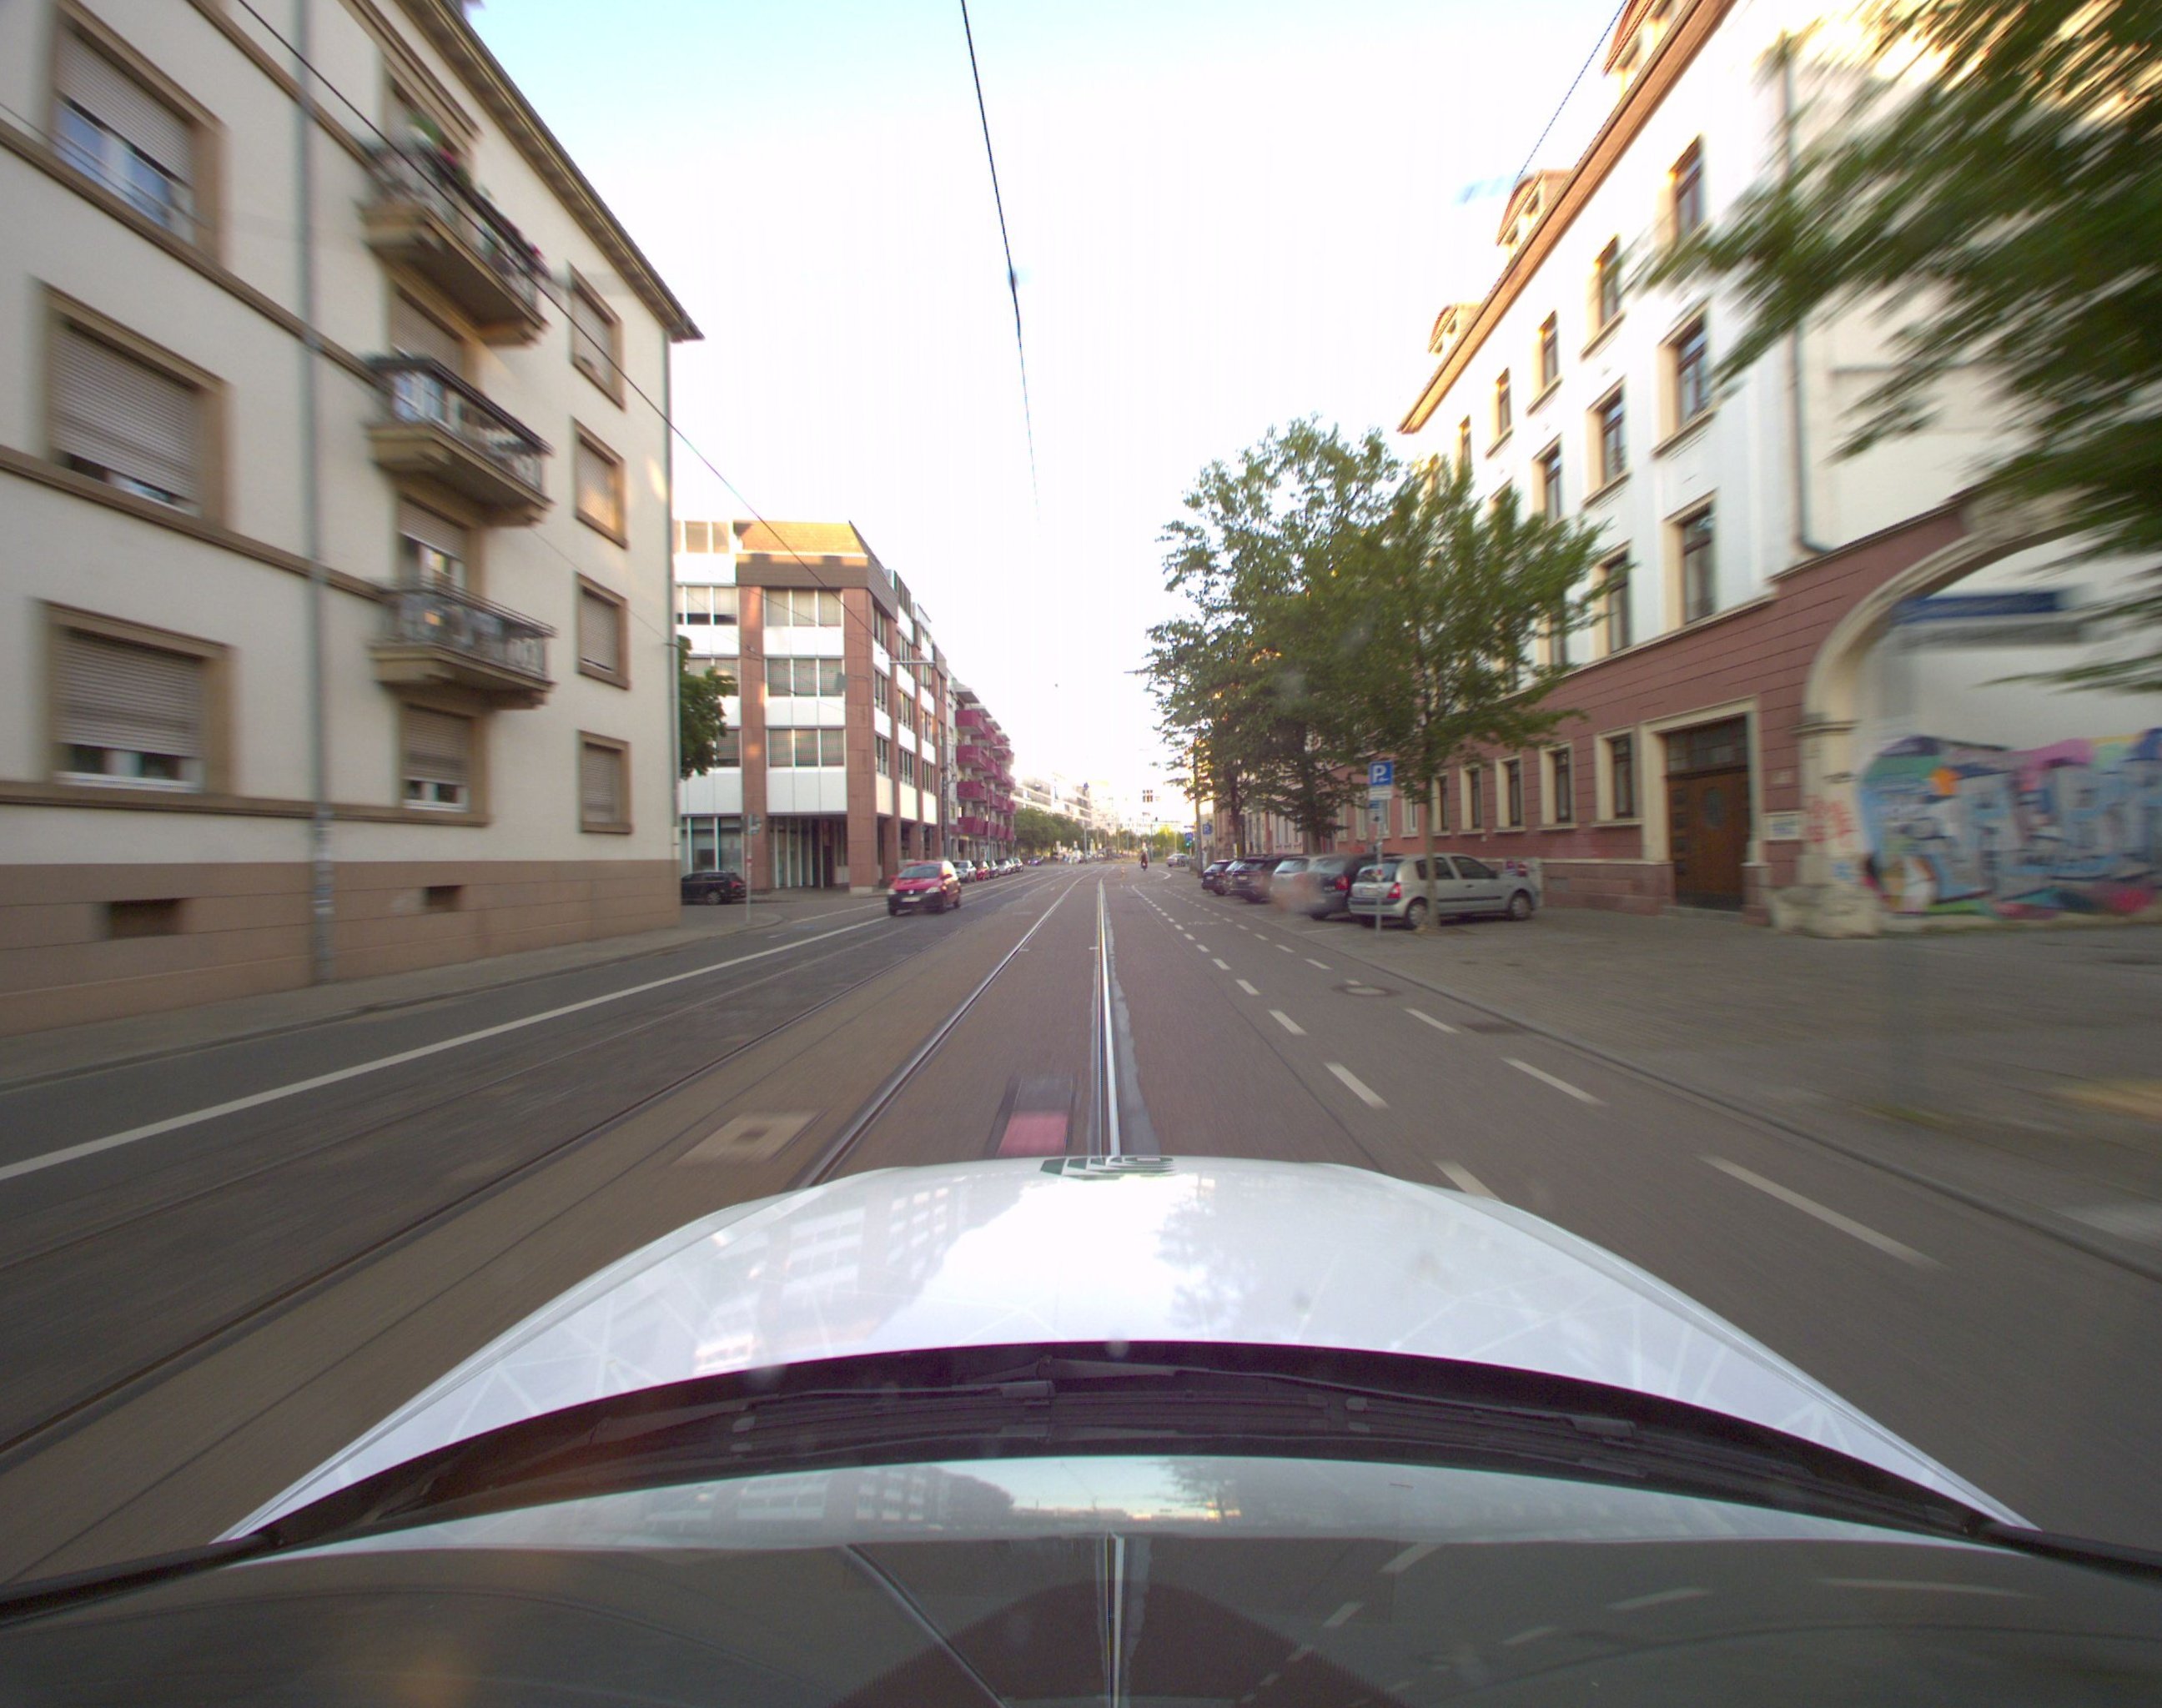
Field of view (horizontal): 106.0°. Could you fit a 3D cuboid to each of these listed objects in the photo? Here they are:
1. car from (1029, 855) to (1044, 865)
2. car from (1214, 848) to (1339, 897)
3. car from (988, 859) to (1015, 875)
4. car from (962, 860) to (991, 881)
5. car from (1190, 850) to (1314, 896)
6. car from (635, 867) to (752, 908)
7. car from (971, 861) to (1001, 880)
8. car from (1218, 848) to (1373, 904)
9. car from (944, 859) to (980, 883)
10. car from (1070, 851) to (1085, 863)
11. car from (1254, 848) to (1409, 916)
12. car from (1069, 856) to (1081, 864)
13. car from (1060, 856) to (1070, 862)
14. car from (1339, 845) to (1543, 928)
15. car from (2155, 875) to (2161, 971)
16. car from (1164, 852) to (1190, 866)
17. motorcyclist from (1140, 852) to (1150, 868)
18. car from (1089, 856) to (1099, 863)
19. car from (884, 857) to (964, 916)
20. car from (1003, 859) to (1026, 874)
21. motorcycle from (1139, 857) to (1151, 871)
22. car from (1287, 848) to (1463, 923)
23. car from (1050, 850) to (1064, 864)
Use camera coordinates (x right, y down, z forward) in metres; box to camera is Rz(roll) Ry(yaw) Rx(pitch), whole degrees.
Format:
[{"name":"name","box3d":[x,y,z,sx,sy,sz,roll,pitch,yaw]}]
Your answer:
[{"name":"car","box3d":[-8.041,1.043,147.845,1.672,1.700,4.251,-2,0,10]},{"name":"car","box3d":[6.993,0.666,29.087,4.005,1.492,1.816,-3,-2,-24]},{"name":"car","box3d":[-7.326,1.147,75.533,1.684,1.414,4.681,0,0,4]},{"name":"car","box3d":[-7.807,1.237,61.184,1.604,1.479,3.482,1,0,3]},{"name":"car","box3d":[6.792,0.722,32.229,4.626,1.457,1.697,-3,0,-24]},{"name":"car","box3d":[-16.340,1.410,34.515,3.982,1.505,1.919,-2,-2,-6]},{"name":"car","box3d":[-7.779,1.339,67.367,1.988,1.479,4.480,1,0,-1]},{"name":"car","box3d":[6.872,0.661,26.157,4.462,1.516,2.048,-3,0,-22]},{"name":"car","box3d":[-8.060,1.131,55.380,1.710,1.555,4.205,0,0,2]},{"name":"car","box3d":[-0.586,0.586,163.808,2.449,2.482,5.816,-2,0,5]},{"name":"car","box3d":[6.503,0.679,21.172,3.572,1.516,1.729,-3,0,-24]},{"name":"car","box3d":[-1.179,1.204,157.900,1.673,1.439,4.136,-2,0,8]},{"name":"car","box3d":[-4.106,1.295,209.446,1.673,1.501,4.250,-2,0,9]},{"name":"car","box3d":[7.120,0.618,16.181,3.492,1.429,1.610,-2,-2,-18]},{"name":"car","box3d":[4.768,0.714,1.108,1.613,1.381,3.777,-3,0,1]},{"name":"car","box3d":[10.988,0.598,93.277,1.701,1.555,4.228,-1,0,26]},{"name":"motorcyclist","box3d":[6.234,0.602,79.117,0.826,1.473,1.206,-2,0,-2]},{"name":"car","box3d":[2.890,1.160,182.820,1.673,1.439,4.136,-2,0,8]},{"name":"car","box3d":[-4.632,0.912,24.477,1.554,1.558,3.755,-3,0,1]},{"name":"car","box3d":[-7.115,1.327,87.111,1.844,1.457,5.088,-1,0,2]},{"name":"motorcycle","box3d":[6.243,0.960,79.200,0.826,1.240,2.489,-2,0,-2]},{"name":"car","box3d":[6.629,0.667,18.381,3.572,1.429,1.656,-3,0,-24]},{"name":"car","box3d":[-5.836,0.745,200.224,2.188,3.152,6.159,-2,0,9]}]
